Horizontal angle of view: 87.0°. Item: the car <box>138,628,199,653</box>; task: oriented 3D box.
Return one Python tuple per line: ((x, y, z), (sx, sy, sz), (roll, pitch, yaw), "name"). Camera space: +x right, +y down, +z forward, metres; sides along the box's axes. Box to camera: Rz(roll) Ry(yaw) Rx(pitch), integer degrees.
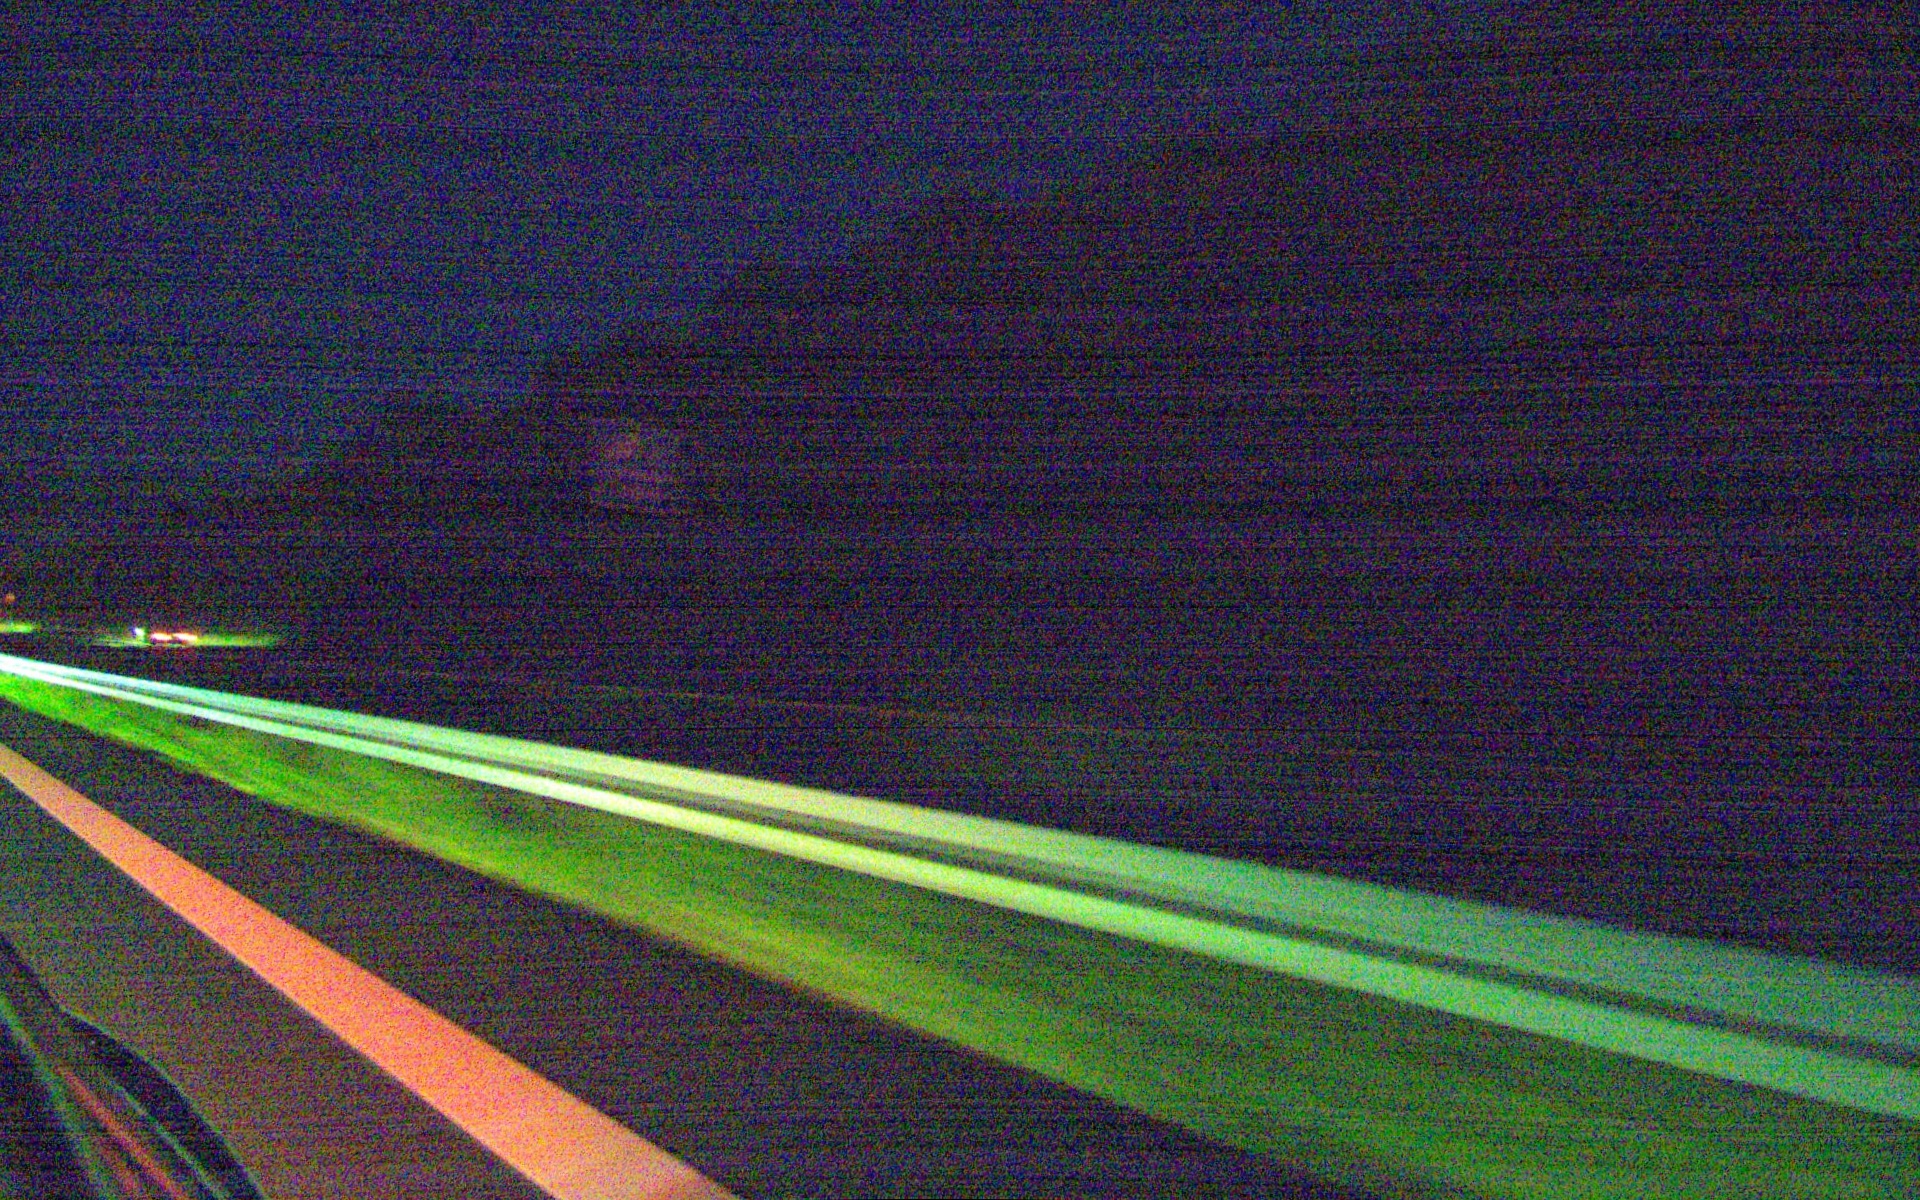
((-50.553, 2.585, 64.596), (5.196, 1.515, 1.973), (-1, -3, 40), "car")
